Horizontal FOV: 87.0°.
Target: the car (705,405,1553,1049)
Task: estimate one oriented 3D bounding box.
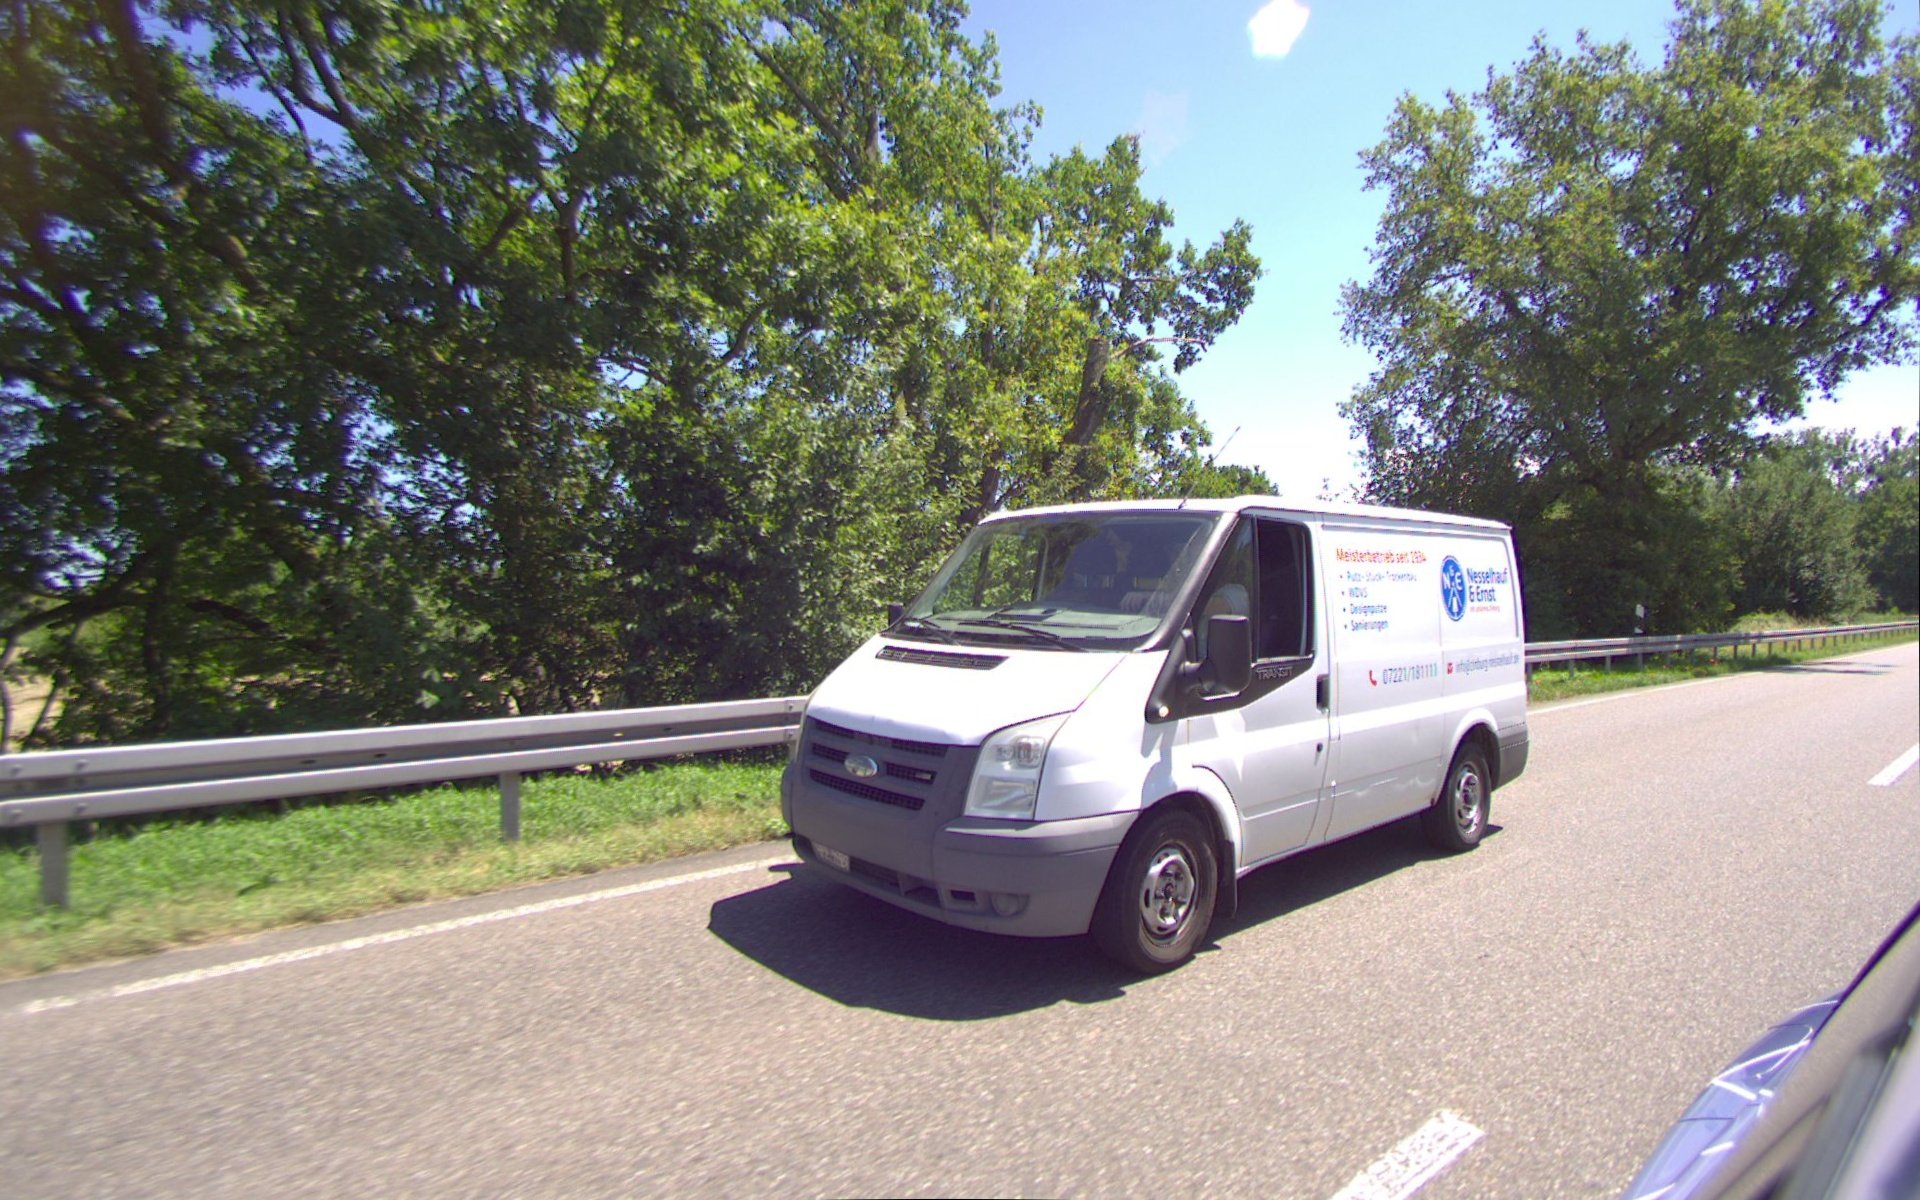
[{"bbox_3d":[1.320,0.357,5.587,4.948,2.013,2.008,-1,1,-42],"label":"car"}]
